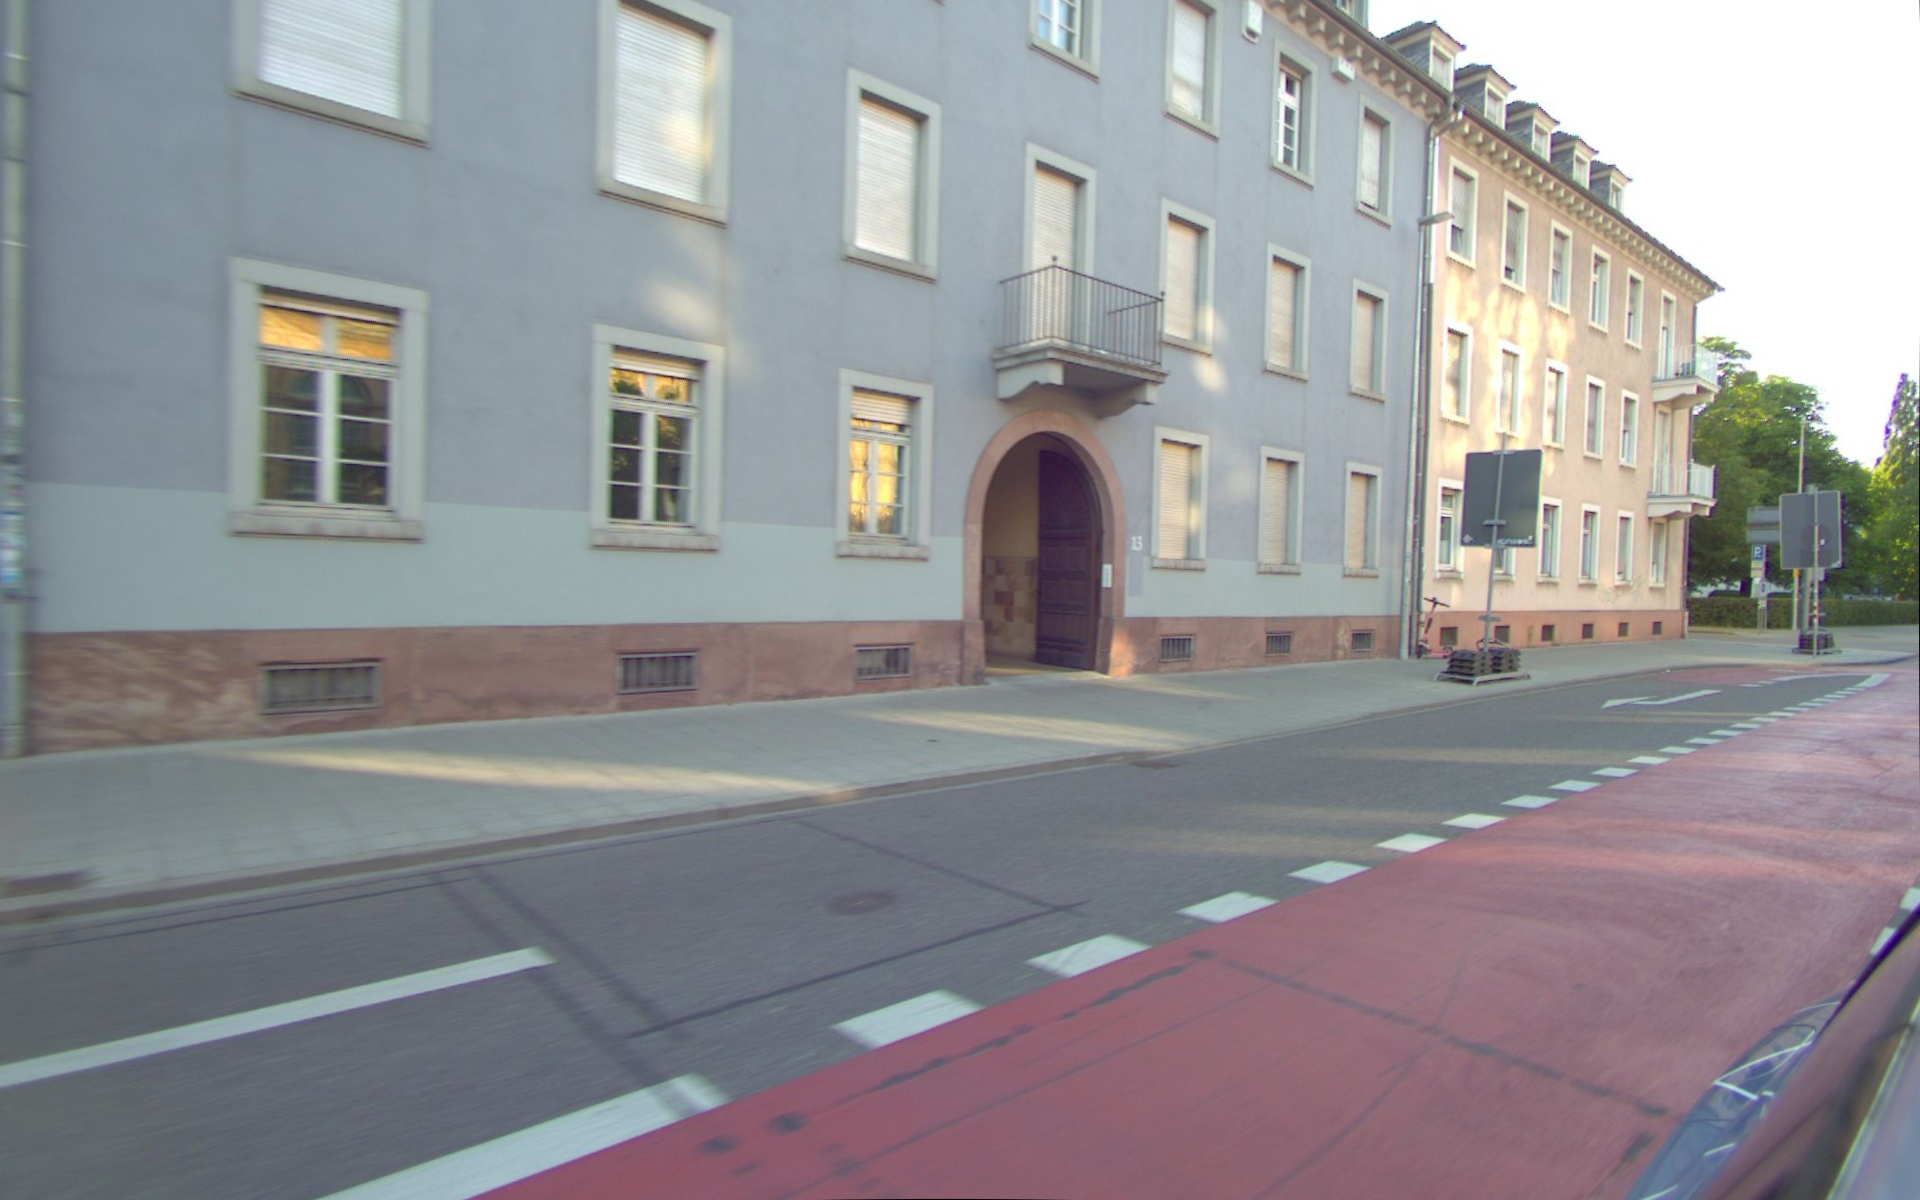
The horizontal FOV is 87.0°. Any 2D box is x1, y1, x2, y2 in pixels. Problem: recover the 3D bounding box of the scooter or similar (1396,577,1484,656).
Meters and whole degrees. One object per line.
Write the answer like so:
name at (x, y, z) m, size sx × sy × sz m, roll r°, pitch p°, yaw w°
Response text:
scooter or similar at (9.627, 0.320, 20.300) m, size 1.639 × 1.476 × 0.729 m, roll 1°, pitch 4°, yaw -31°
